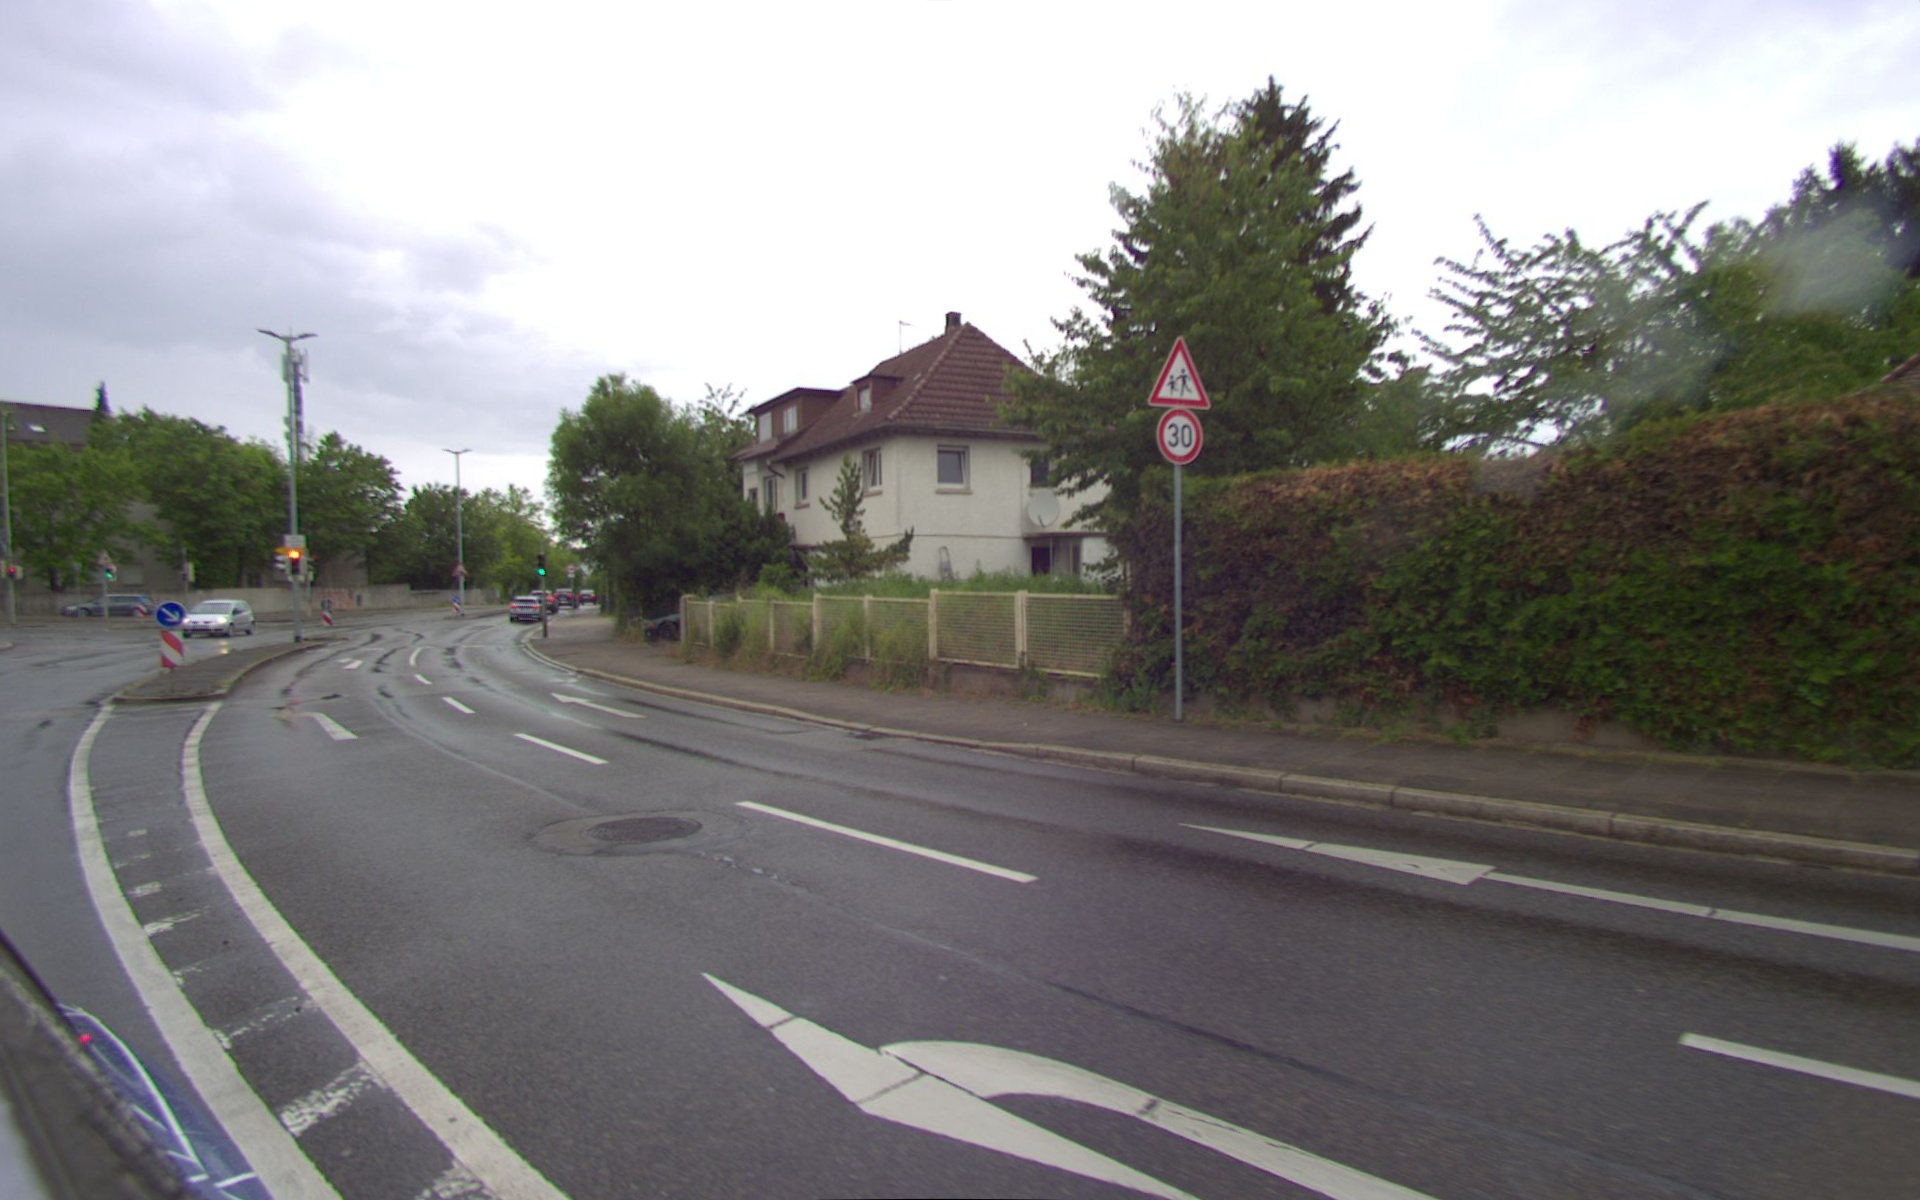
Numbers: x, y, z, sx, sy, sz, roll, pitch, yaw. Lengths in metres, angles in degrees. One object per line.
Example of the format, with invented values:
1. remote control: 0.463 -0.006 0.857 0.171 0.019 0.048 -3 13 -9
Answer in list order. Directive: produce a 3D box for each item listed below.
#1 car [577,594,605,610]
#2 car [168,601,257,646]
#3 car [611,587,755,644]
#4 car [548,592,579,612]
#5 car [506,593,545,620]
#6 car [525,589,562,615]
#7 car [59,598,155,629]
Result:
1. car: -36.811 0.179 101.125 1.841 1.487 4.455 1 1 -9
2. car: -31.633 0.944 42.954 1.965 1.669 4.013 0 2 -20
3. car: -8.755 0.435 32.041 3.933 1.405 1.938 -6 3 -32
4. car: -33.263 0.167 84.980 1.839 1.565 4.459 1 1 -15
5. car: -26.018 0.341 60.754 1.652 1.460 4.703 0 2 -17
6. car: -29.667 0.104 72.188 1.857 1.690 4.244 0 1 -15
7. car: -52.080 0.795 61.855 1.997 1.669 4.173 1 2 37
